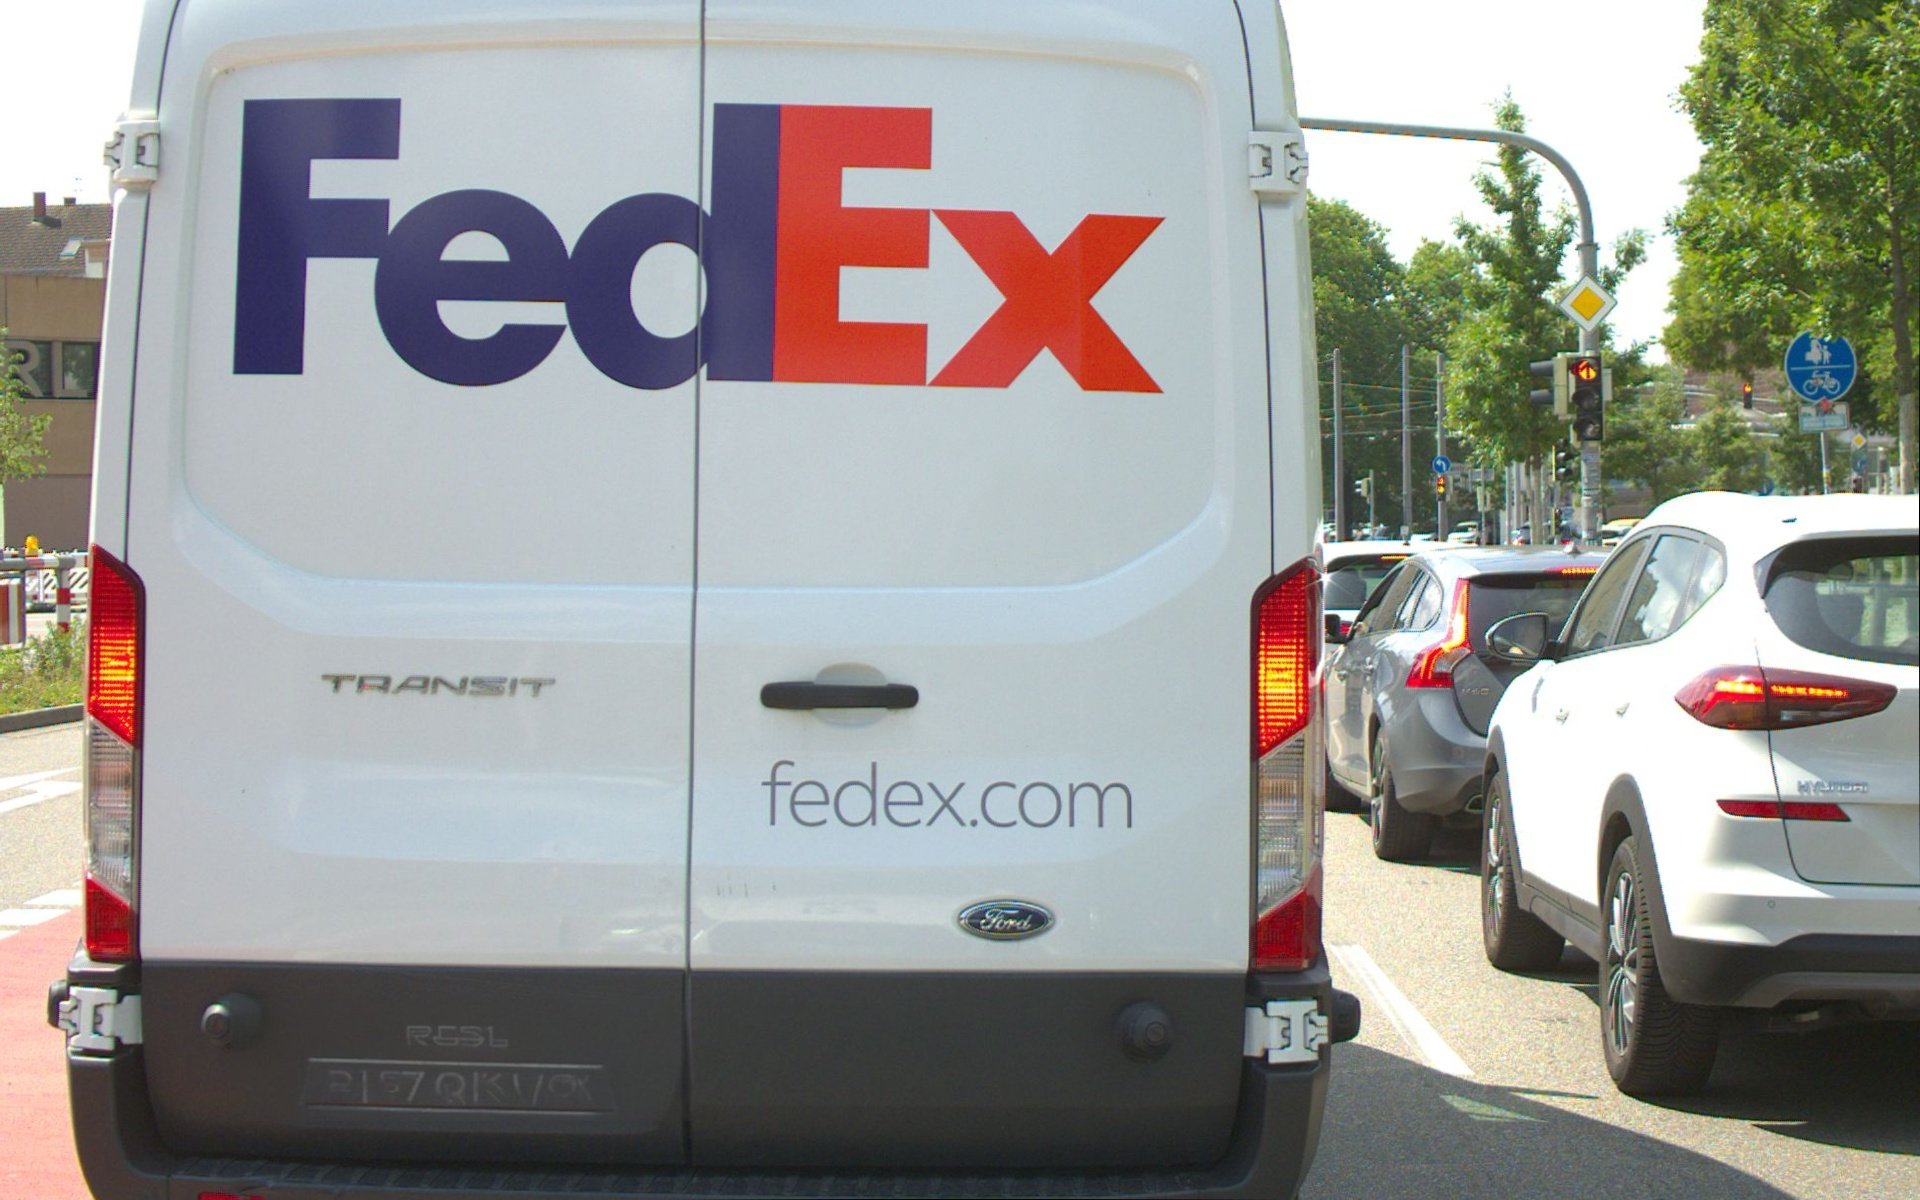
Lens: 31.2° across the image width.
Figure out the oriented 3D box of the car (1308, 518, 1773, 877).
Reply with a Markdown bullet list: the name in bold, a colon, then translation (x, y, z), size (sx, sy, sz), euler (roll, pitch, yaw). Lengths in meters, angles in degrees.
- **car**: translation (2.709, 0.380, 16.787), size (1.691, 1.543, 3.720), euler (0, 1, 1)

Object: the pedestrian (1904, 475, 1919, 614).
- **pedestrian**: translation (12.684, -0.723, 44.511), size (0.759, 1.783, 0.816), euler (0, 1, 5)

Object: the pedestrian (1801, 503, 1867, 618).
- **pedestrian**: translation (14.233, -0.649, 56.016), size (0.758, 1.843, 0.816), euler (-1, 1, -10)

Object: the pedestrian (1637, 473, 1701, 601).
- **pedestrian**: translation (10.333, -0.923, 50.132), size (0.759, 1.843, 0.816), euler (-1, 1, 1)

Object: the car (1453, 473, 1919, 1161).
- **car**: translation (2.650, 0.474, 10.343), size (1.814, 1.673, 3.974), euler (0, 1, 1)

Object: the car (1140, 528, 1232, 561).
- **car**: translation (10.644, -2.625, 162.125), size (4.232, 1.493, 1.741), euler (-1, 1, -1)

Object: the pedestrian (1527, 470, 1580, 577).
- **pedestrian**: translation (10.329, -1.330, 59.882), size (0.813, 1.843, 0.761), euler (0, 1, 3)

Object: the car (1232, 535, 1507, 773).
- **car**: translation (2.709, 0.309, 23.327), size (1.499, 1.459, 3.474), euler (0, 1, 1)

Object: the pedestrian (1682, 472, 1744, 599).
- **pedestrian**: translation (11.082, -0.956, 50.636), size (0.759, 1.843, 0.816), euler (-1, 1, 3)

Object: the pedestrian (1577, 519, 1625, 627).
- **pedestrian**: translation (11.012, -0.466, 59.039), size (0.759, 1.843, 0.816), euler (0, 1, 15)

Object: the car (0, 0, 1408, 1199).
- **car**: translation (-0.357, 0.072, 7.196), size (2.072, 2.572, 4.428), euler (0, 1, 1)

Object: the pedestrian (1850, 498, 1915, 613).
- **pedestrian**: translation (15.084, -0.733, 56.213), size (0.758, 1.843, 0.816), euler (-1, 1, -8)
